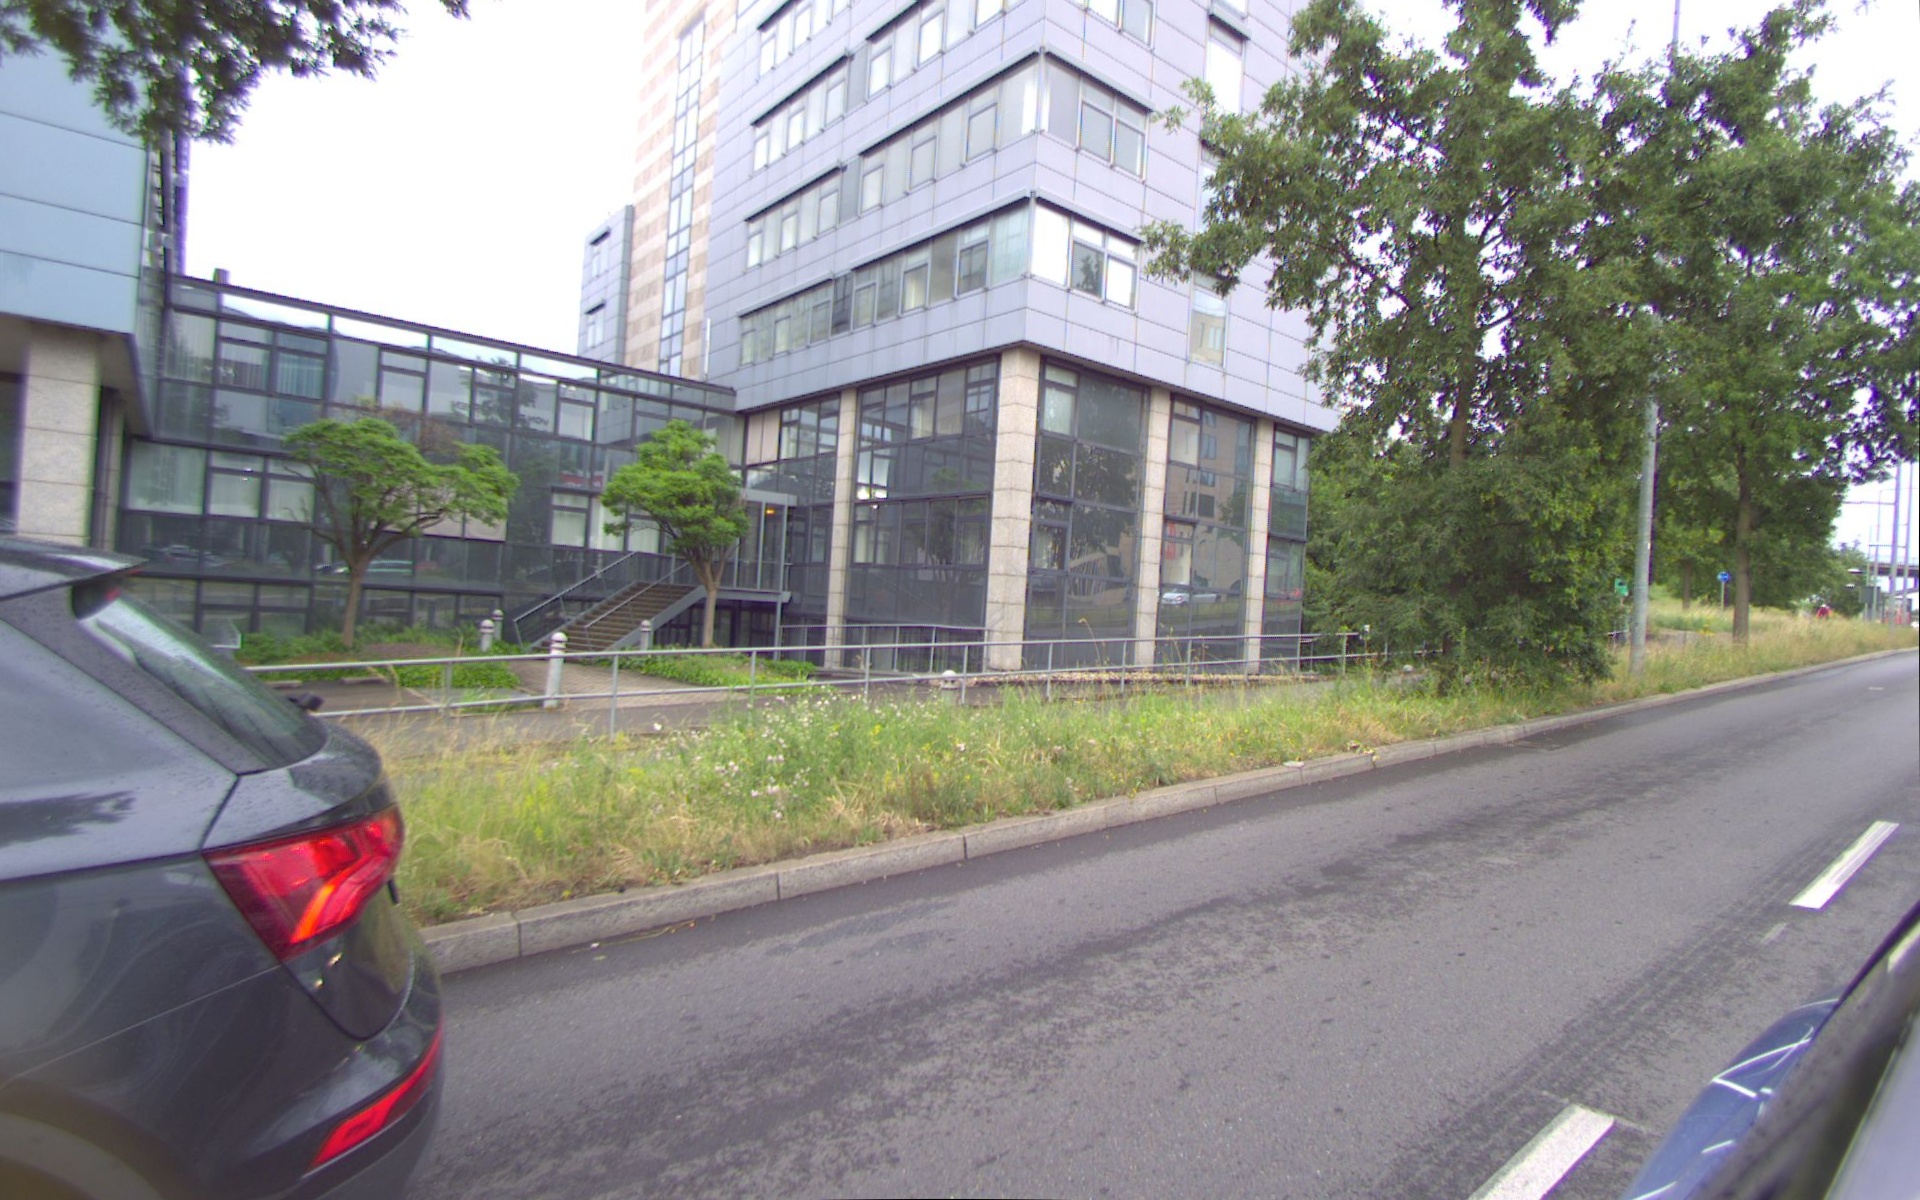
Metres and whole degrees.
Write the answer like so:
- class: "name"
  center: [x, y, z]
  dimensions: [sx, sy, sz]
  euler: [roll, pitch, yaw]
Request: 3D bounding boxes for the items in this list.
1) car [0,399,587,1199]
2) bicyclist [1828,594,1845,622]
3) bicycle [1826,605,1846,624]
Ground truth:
- class: "car"
  center: [-2.904, 0.541, 1.019]
  dimensions: [4.392, 1.633, 1.821]
  euler: [0, 1, -41]
- class: "bicyclist"
  center: [50.607, 0.442, 58.432]
  dimensions: [0.839, 1.599, 0.647]
  euler: [1, -1, -41]
- class: "bicycle"
  center: [50.594, 0.819, 58.444]
  dimensions: [1.872, 1.102, 0.581]
  euler: [1, -1, -41]
